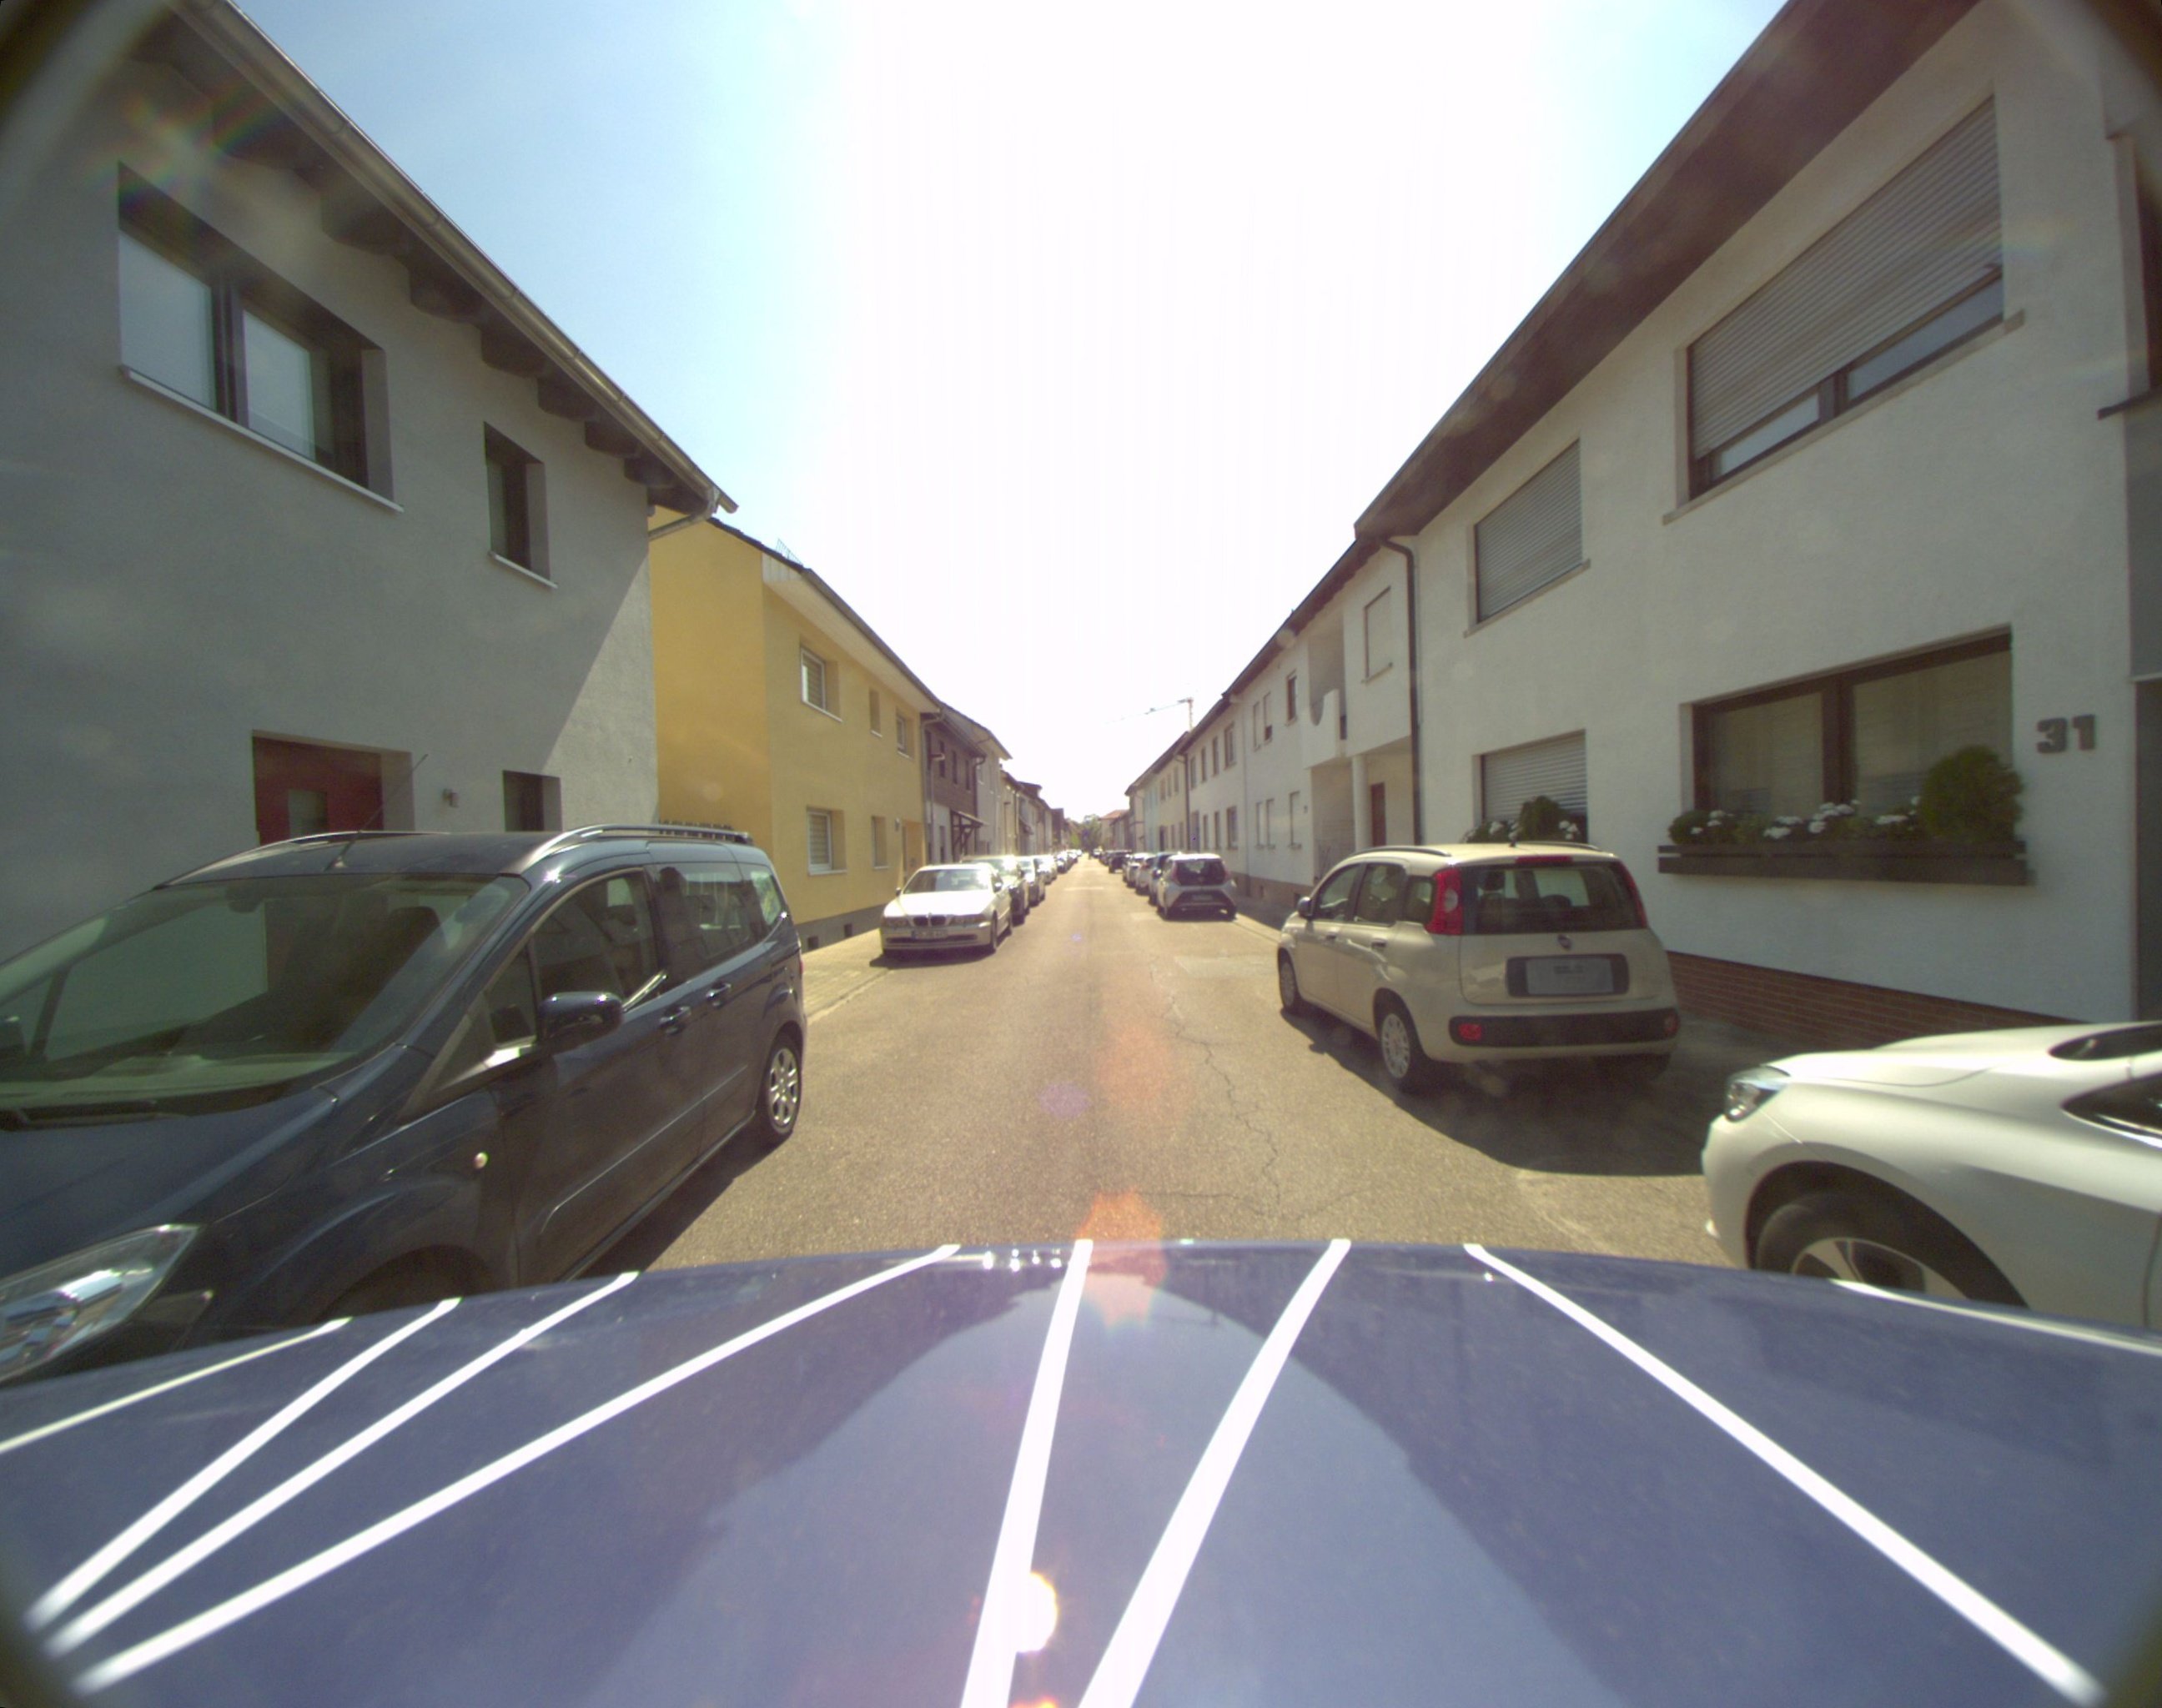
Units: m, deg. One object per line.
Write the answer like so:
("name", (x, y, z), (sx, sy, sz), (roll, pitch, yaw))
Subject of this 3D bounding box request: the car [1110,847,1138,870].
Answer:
("car", (3.079, 0.309, 55.410), (1.819, 1.598, 3.887), (-1, 1, 0))

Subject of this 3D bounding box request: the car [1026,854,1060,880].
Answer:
("car", (-2.239, 0.744, 45.789), (1.761, 1.352, 4.045), (-3, 1, 0))

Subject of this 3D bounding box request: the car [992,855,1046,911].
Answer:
("car", (-1.906, 0.863, 24.221), (1.403, 1.519, 3.397), (-3, 1, 0))

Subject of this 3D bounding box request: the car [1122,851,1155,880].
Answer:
("car", (2.992, 0.580, 40.039), (1.414, 1.447, 3.542), (-1, 1, 0))

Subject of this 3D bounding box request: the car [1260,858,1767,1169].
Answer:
("car", (2.697, 0.838, 5.801), (1.667, 1.532, 3.687), (-1, 1, -2))

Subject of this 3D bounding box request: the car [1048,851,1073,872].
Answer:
("car", (-1.573, 0.544, 58.693), (1.736, 1.502, 3.623), (-3, 1, 1))

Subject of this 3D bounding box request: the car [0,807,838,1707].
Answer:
("car", (-2.456, 0.913, 2.797), (1.701, 1.766, 4.200), (-4, -1, -1))

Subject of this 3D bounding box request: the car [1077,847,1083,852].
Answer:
("car", (-0.258, -1.107, 183.948), (1.414, 1.111, 3.323), (-1, 1, 1))

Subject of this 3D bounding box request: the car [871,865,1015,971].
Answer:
("car", (-2.184, 0.962, 13.163), (1.666, 1.406, 4.247), (-1, 1, 0))

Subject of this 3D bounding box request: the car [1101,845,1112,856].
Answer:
("car", (3.468, -0.487, 103.777), (1.414, 1.389, 3.323), (-1, 1, 1))

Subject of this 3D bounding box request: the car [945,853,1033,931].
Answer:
("car", (-2.127, 0.824, 18.471), (1.684, 1.575, 3.961), (-2, 1, -1))

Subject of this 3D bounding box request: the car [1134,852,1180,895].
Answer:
("car", (2.782, 0.672, 28.349), (1.414, 1.447, 3.462), (-1, 1, 1))

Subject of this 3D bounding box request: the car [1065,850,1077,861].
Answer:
("car", (-1.261, 0.183, 94.076), (1.414, 1.389, 3.323), (-1, 1, 1))

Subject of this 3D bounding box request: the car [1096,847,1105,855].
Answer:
("car", (3.317, -0.537, 129.355), (1.414, 1.276, 3.528), (-1, 1, 1))

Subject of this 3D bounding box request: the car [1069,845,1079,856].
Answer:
("car", (-1.053, -0.485, 112.718), (1.414, 1.604, 3.323), (-1, 1, 1))

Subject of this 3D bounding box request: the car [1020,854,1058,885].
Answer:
("car", (-2.186, 0.773, 40.367), (1.743, 1.460, 4.044), (-3, 1, -1))

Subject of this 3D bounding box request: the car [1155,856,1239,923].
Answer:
("car", (2.704, 0.792, 18.311), (1.606, 1.434, 3.214), (-1, 0, 1))

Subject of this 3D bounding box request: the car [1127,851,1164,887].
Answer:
("car", (2.822, 0.637, 33.883), (1.414, 1.447, 3.542), (-1, 1, 1))

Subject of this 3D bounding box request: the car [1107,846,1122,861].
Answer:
("car", (3.610, -0.049, 82.102), (1.414, 1.582, 3.542), (-1, 1, 1))

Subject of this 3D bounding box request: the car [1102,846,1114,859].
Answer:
("car", (3.435, -0.260, 95.926), (1.414, 1.582, 3.323), (-1, 1, 1))

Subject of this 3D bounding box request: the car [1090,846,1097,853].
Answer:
("car", (2.640, -1.012, 160.876), (1.414, 1.389, 3.323), (-1, 1, 1))

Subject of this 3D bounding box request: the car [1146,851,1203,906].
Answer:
("car", (2.799, 0.700, 23.150), (1.414, 1.519, 3.025), (-1, 1, 1))

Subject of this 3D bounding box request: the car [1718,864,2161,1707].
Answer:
("car", (2.765, 0.782, 0.266), (1.667, 1.539, 3.942), (-1, -1, -2))
